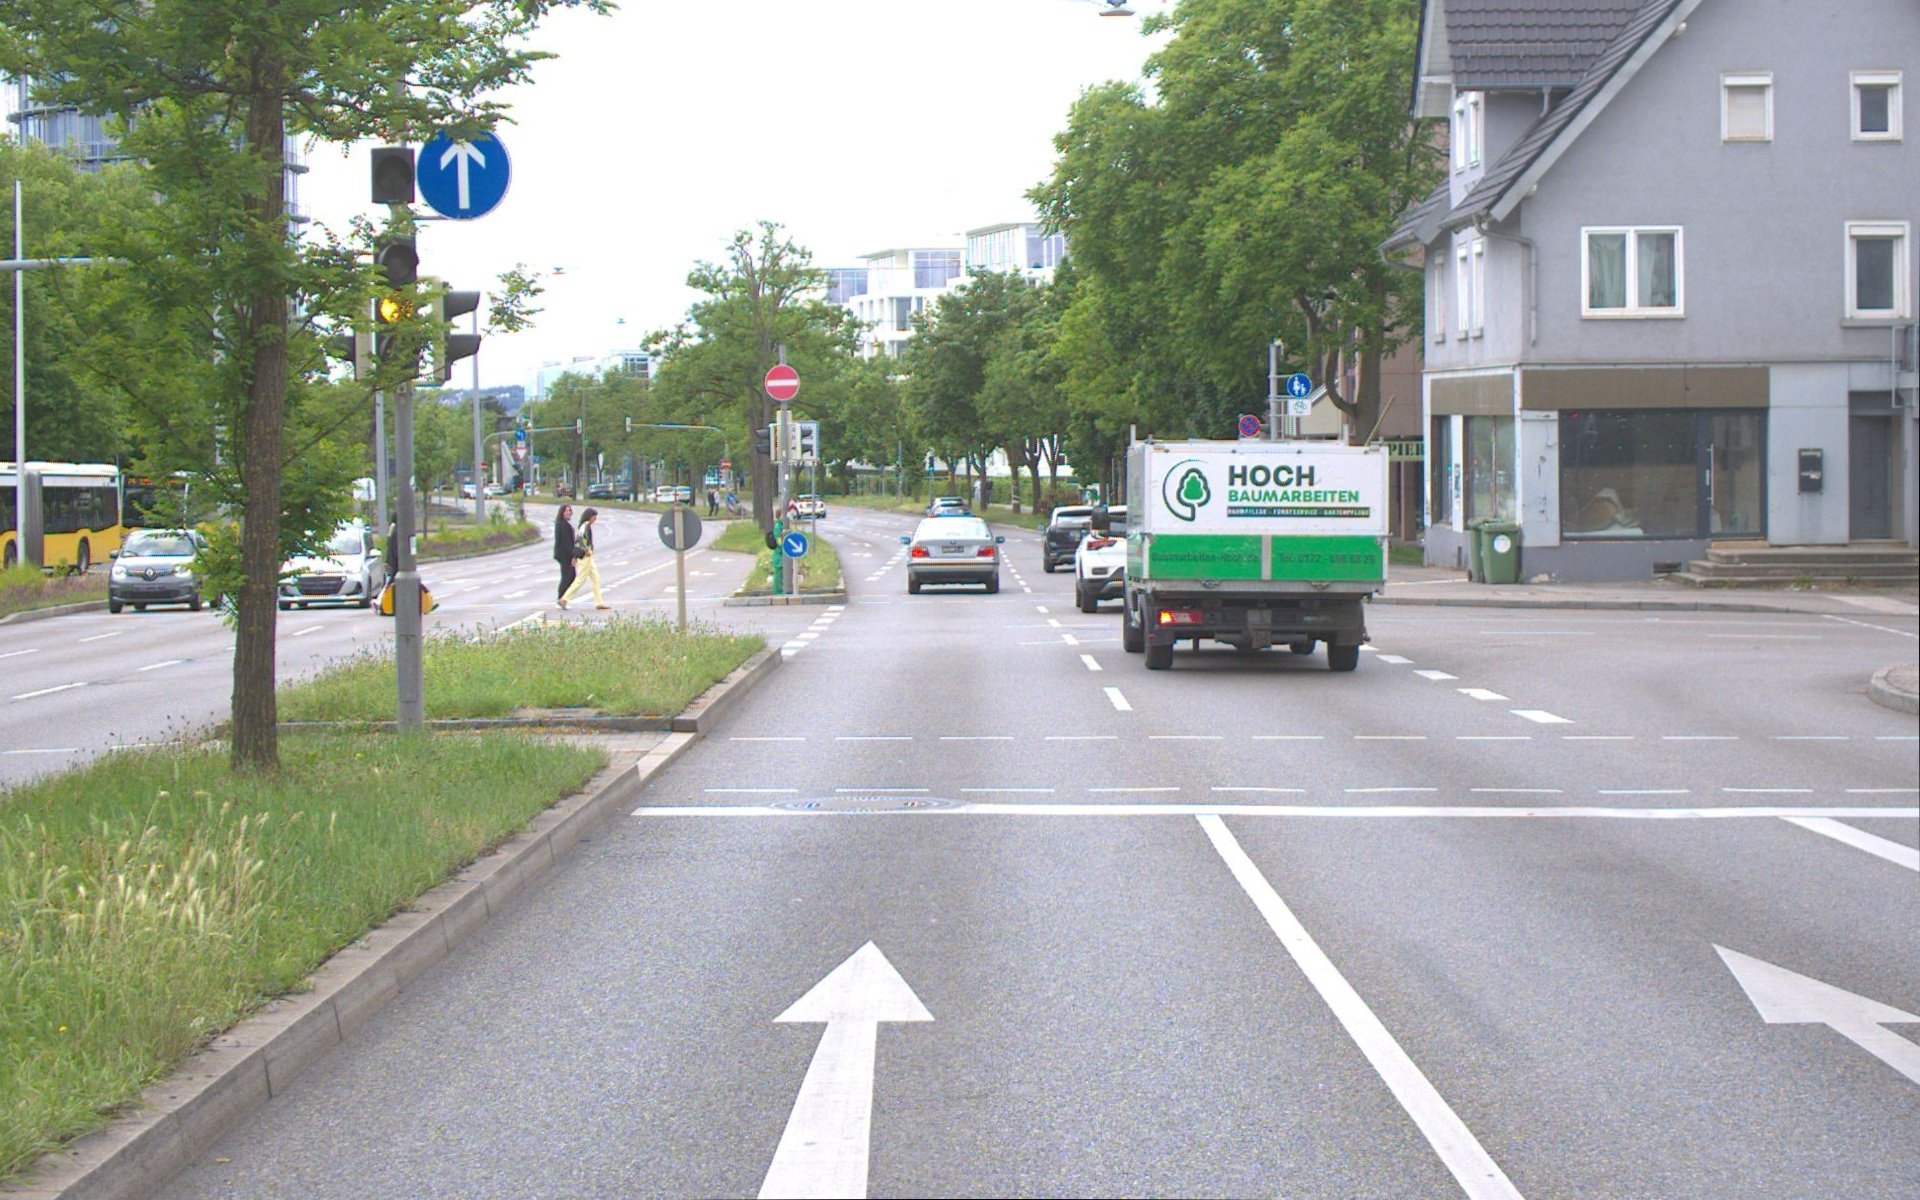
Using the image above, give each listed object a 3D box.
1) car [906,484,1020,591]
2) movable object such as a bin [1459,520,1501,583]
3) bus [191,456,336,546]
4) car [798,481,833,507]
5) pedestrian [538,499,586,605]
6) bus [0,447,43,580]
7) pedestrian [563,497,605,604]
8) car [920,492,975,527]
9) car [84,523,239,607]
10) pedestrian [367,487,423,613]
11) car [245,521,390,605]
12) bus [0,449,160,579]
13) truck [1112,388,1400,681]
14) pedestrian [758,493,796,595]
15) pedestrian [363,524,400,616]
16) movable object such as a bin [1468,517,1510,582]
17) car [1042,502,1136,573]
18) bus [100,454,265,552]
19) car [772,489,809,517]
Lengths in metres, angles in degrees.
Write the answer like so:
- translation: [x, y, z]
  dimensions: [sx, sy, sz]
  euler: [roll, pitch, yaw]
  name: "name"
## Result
- translation: [0.058, -1.163, 62.367]
  dimensions: [1.993, 1.824, 4.001]
  euler: [0, 3, 0]
  name: "car"
- translation: [8.693, -0.812, 57.452]
  dimensions: [0.616, 1.039, 0.589]
  euler: [1, 1, 2]
  name: "movable object such as a bin"
- translation: [-27.954, -3.962, 138.503]
  dimensions: [2.832, 3.419, 10.732]
  euler: [-1, 1, 4]
  name: "bus"
- translation: [-8.609, -6.285, 204.330]
  dimensions: [1.993, 1.514, 4.001]
  euler: [-1, 2, -3]
  name: "car"
- translation: [-6.537, -0.795, 56.483]
  dimensions: [0.745, 1.710, 0.583]
  euler: [-1, 1, -6]
  name: "pedestrian"
- translation: [-26.215, -2.140, 85.992]
  dimensions: [2.832, 3.419, 10.732]
  euler: [-1, 1, 4]
  name: "bus"
- translation: [-6.093, -0.809, 55.706]
  dimensions: [0.653, 1.710, 0.452]
  euler: [-1, 1, -6]
  name: "pedestrian"
- translation: [-0.595, -4.241, 161.198]
  dimensions: [1.993, 1.546, 4.001]
  euler: [-1, 2, -8]
  name: "car"
- translation: [-14.947, -0.675, 64.541]
  dimensions: [1.993, 1.481, 4.000]
  euler: [-1, 1, -1]
  name: "car"
- translation: [-9.125, -0.809, 55.561]
  dimensions: [0.830, 2.007, 0.546]
  euler: [-1, 1, -6]
  name: "pedestrian"
- translation: [-11.974, -0.721, 64.313]
  dimensions: [1.993, 1.481, 4.000]
  euler: [-1, 1, -1]
  name: "car"
- translation: [-25.429, -2.394, 96.069]
  dimensions: [2.832, 3.419, 10.732]
  euler: [-1, 1, 4]
  name: "bus"
- translation: [2.791, -0.739, 34.093]
  dimensions: [2.471, 2.602, 6.548]
  euler: [1, 3, 2]
  name: "truck"
- translation: [-3.111, -0.948, 58.410]
  dimensions: [0.583, 1.710, 0.546]
  euler: [-1, 1, -6]
  name: "pedestrian"
- translation: [-9.474, -0.502, 56.303]
  dimensions: [0.543, 1.490, 0.487]
  euler: [-1, 1, -6]
  name: "pedestrian"
- translation: [8.744, -0.843, 56.806]
  dimensions: [0.604, 1.056, 0.589]
  euler: [1, 1, 2]
  name: "movable object such as a bin"
- translation: [2.904, -1.445, 78.190]
  dimensions: [1.993, 1.546, 4.000]
  euler: [1, 2, 0]
  name: "car"
- translation: [-28.774, -3.586, 127.781]
  dimensions: [2.832, 3.419, 10.732]
  euler: [-1, 1, 4]
  name: "bus"
- translation: [-9.366, -5.363, 189.386]
  dimensions: [1.993, 1.514, 4.001]
  euler: [-1, 2, -3]
  name: "car"
